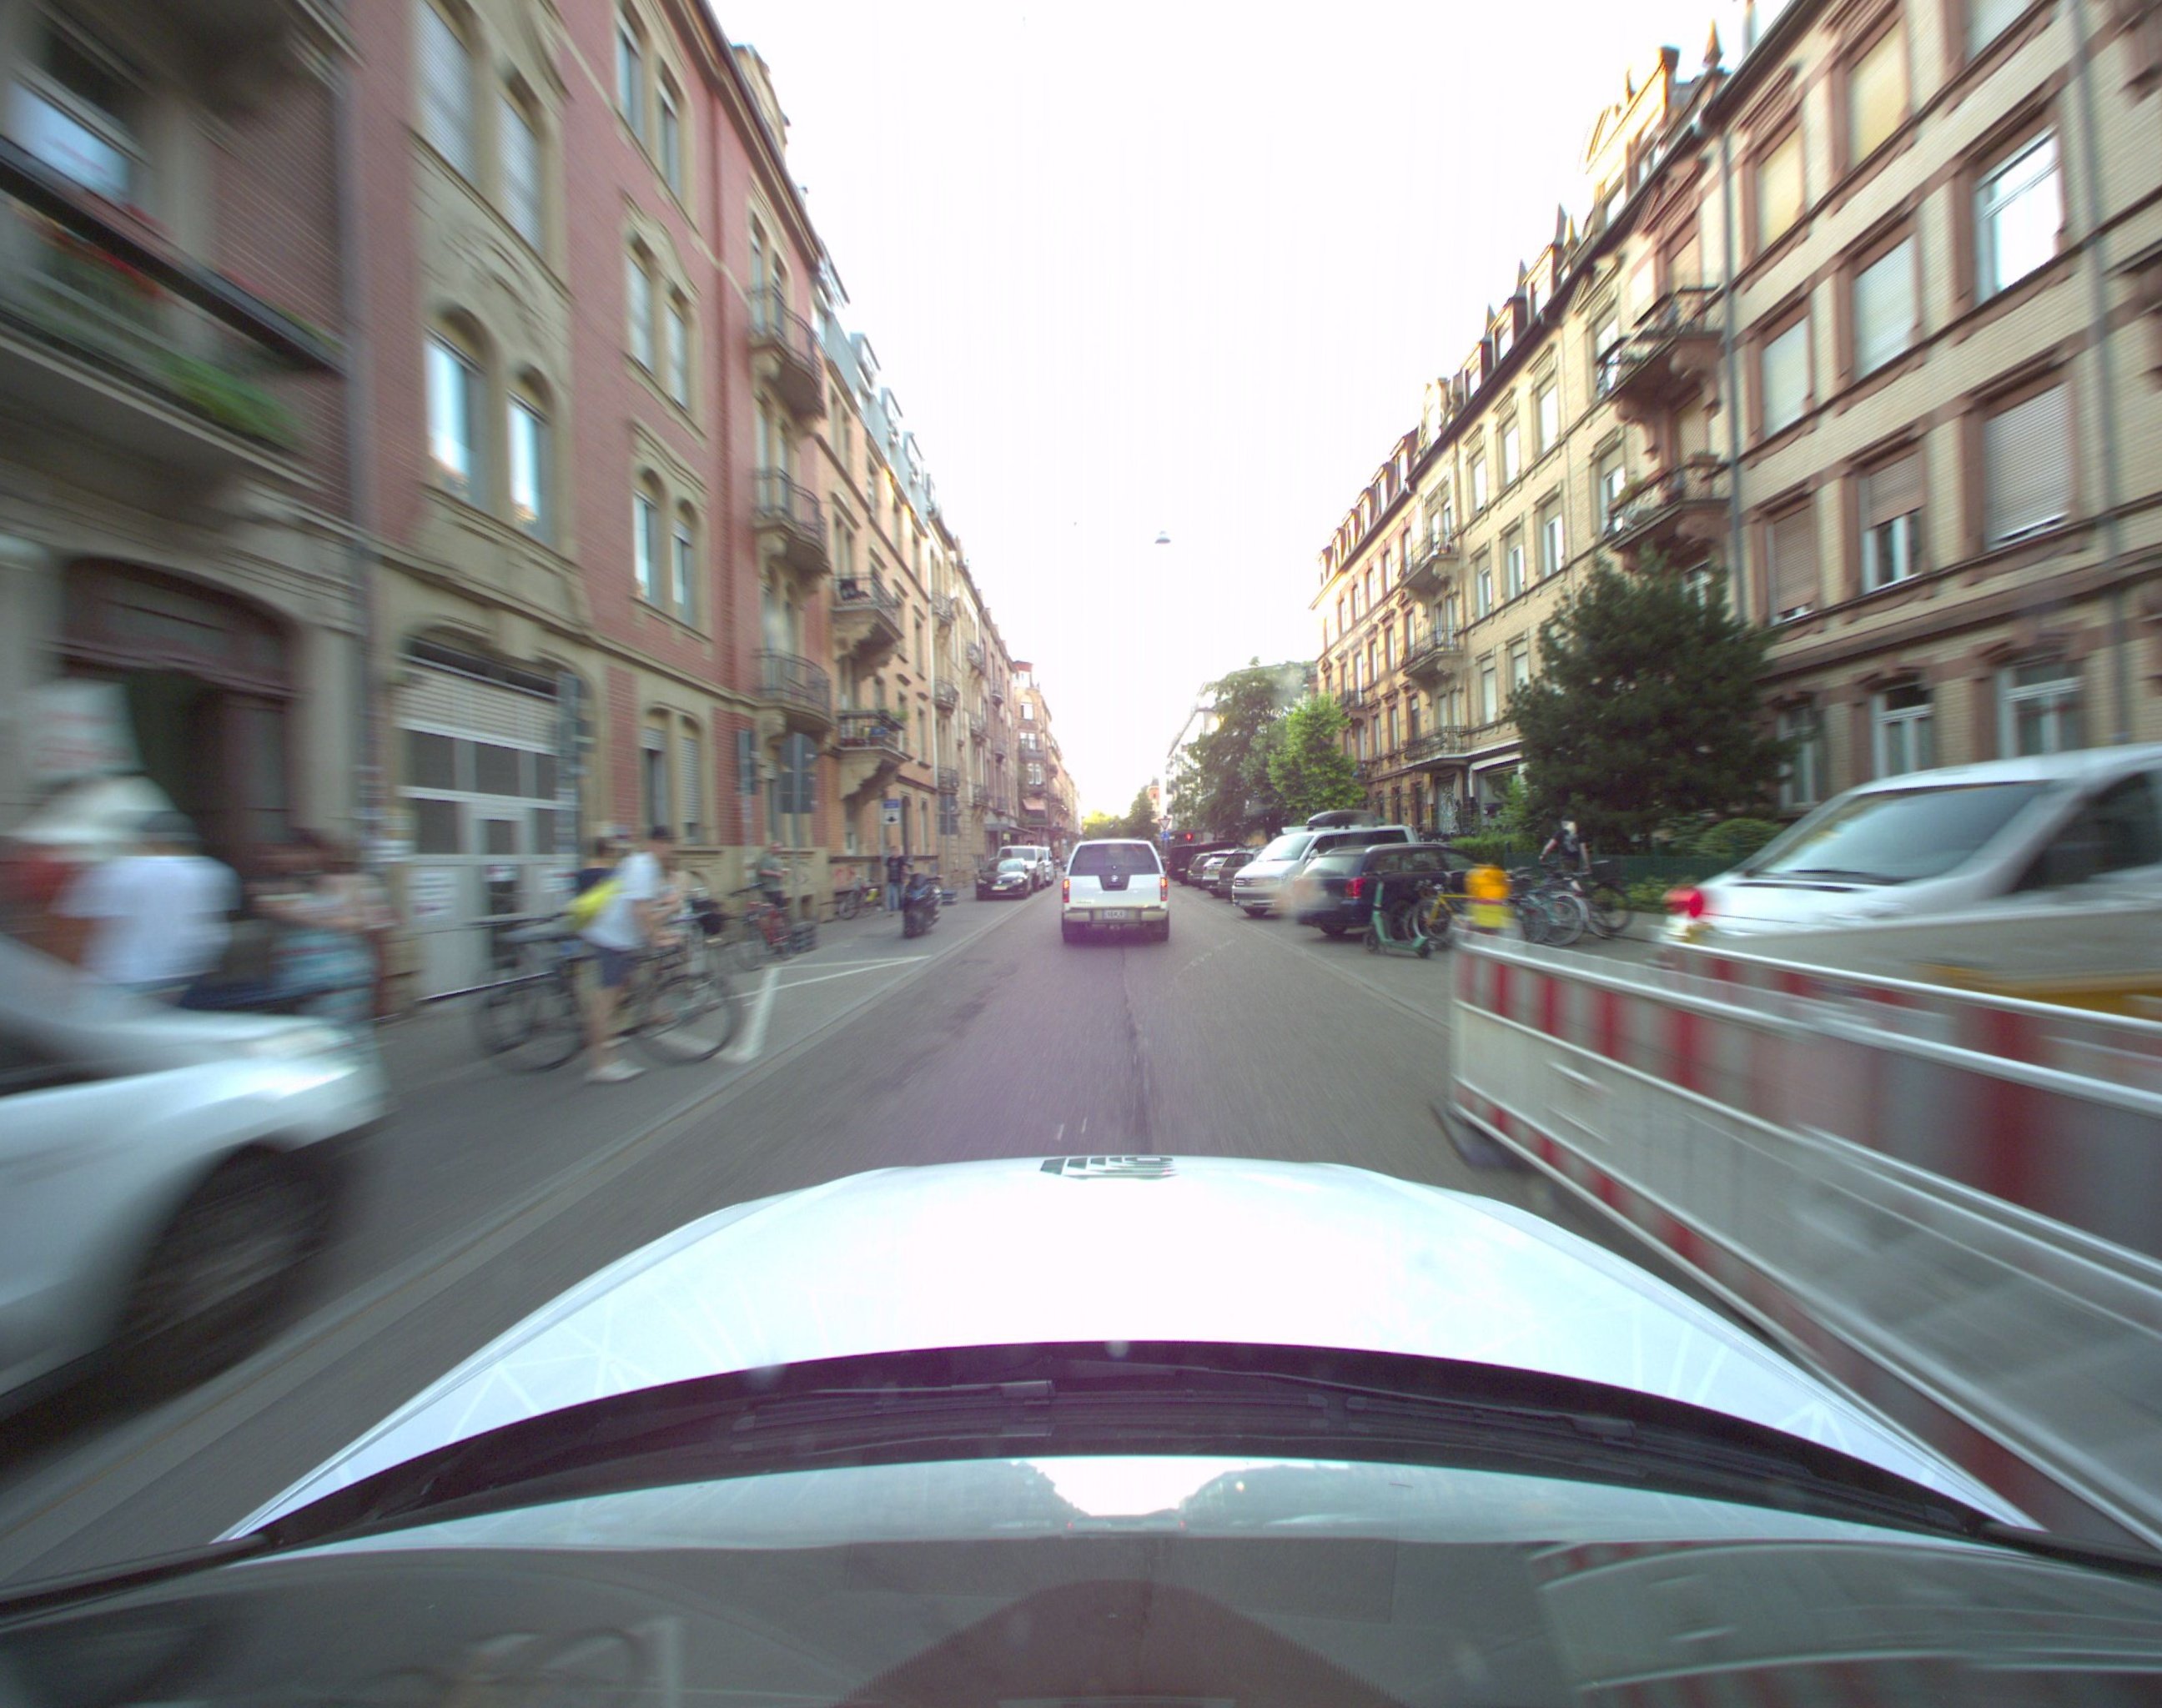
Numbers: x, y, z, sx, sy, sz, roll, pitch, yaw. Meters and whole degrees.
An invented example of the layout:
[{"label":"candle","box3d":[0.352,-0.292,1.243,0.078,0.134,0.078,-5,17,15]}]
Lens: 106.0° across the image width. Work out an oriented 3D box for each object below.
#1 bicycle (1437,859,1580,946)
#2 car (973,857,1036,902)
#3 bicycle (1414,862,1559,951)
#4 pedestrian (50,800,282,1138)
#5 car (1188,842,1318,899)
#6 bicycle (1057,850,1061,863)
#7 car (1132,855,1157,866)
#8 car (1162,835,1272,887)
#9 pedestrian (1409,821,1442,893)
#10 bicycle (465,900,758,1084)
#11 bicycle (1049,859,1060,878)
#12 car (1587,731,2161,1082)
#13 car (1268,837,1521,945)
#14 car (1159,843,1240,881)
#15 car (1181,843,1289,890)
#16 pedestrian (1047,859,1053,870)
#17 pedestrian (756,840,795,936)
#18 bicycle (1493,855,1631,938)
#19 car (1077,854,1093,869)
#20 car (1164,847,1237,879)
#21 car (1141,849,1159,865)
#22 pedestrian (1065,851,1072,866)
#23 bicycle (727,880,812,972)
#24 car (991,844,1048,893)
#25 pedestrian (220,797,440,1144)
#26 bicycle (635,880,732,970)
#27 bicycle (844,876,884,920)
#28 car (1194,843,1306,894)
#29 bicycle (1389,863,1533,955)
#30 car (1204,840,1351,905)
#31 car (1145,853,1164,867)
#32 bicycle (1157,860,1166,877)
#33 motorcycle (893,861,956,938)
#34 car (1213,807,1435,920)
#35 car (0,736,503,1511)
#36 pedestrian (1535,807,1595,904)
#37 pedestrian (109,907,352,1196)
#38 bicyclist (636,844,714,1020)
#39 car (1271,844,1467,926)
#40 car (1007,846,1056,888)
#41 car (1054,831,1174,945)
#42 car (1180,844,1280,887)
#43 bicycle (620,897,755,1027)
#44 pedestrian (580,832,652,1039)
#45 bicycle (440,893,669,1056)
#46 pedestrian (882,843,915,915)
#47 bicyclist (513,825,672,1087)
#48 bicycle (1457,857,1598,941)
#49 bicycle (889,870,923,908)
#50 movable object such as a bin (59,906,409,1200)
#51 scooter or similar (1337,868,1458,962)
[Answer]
[{"label":"bicycle","box3d":[6.185,0.674,11.899,0.498,1.136,1.796,-4,1,-32]},{"label":"car","box3d":[-2.703,0.859,29.497,1.831,1.471,4.172,-2,0,0]},{"label":"bicycle","box3d":[5.710,0.706,11.567,0.498,1.136,1.796,-4,1,-32]},{"label":"pedestrian","box3d":[-5.365,0.621,4.808,0.593,1.814,0.724,-1,-1,20]},{"label":"car","box3d":[5.933,0.542,28.014,4.121,1.590,1.801,-5,1,-29]},{"label":"bicycle","box3d":[-2.468,0.330,92.834,0.423,1.442,1.902,0,-1,-2]},{"label":"car","box3d":[10.303,1.070,132.676,3.973,1.750,1.841,-1,-1,0]},{"label":"car","box3d":[6.681,0.302,39.619,5.463,2.072,1.912,-5,1,-37]},{"label":"pedestrian","box3d":[9.706,0.084,22.952,0.622,2.014,0.655,0,-1,-3]},{"label":"bicycle","box3d":[-3.331,0.947,5.956,1.783,1.155,0.517,0,-1,-20]},{"label":"bicycle","box3d":[-1.671,0.920,51.617,0.469,1.142,1.787,-1,-1,5]},{"label":"car","box3d":[6.842,0.201,5.848,5.155,1.955,1.899,-4,1,0]},{"label":"car","box3d":[5.387,0.556,14.004,3.873,1.516,1.833,-3,0,-24]},{"label":"car","box3d":[6.569,0.436,44.893,4.244,1.688,1.912,-5,1,-37]},{"label":"car","box3d":[6.356,0.499,33.604,4.122,1.551,1.801,-5,1,-30]},{"label":"pedestrian","box3d":[-3.299,1.125,87.005,0.647,1.191,0.539,0,-1,-2]},{"label":"pedestrian","box3d":[-5.832,0.642,15.584,0.461,1.789,0.642,-1,-1,5]},{"label":"bicycle","box3d":[7.285,0.613,12.422,0.497,1.136,1.799,-4,1,-25]},{"label":"car","box3d":[0.518,0.873,99.046,1.828,1.750,4.001,-1,-1,1]},{"label":"car","box3d":[7.103,0.519,48.220,4.062,1.628,1.677,-4,1,-30]},{"label":"car","box3d":[8.525,0.387,101.368,1.936,1.934,4.001,-1,-1,1]},{"label":"pedestrian","box3d":[-1.404,0.534,91.308,0.795,1.621,0.944,-1,-1,-1]},{"label":"bicycle","box3d":[-4.343,0.961,11.489,0.410,1.160,1.839,-1,-1,3]},{"label":"car","box3d":[-2.584,0.599,35.309,1.829,1.921,4.849,-2,0,3]},{"label":"pedestrian","box3d":[-4.240,0.608,4.660,0.597,1.814,0.719,0,-1,-7]},{"label":"bicycle","box3d":[-5.709,0.978,11.810,0.410,1.160,1.839,-1,-1,3]},{"label":"bicycle","box3d":[-5.406,1.071,20.375,0.446,1.030,1.742,-1,-1,3]},{"label":"car","box3d":[6.515,0.526,31.214,4.128,1.590,1.798,-5,1,-36]},{"label":"bicycle","box3d":[5.179,0.717,11.220,0.498,1.136,1.797,-4,1,-29]},{"label":"car","box3d":[6.065,0.539,25.090,4.179,1.590,1.868,-5,1,-29]},{"label":"car","box3d":[8.357,0.739,92.581,1.828,1.542,4.001,-1,-1,1]},{"label":"bicycle","box3d":[5.106,0.902,51.656,0.363,1.063,1.551,0,-1,-2]},{"label":"motorcycle","box3d":[-3.019,0.847,15.895,0.681,1.405,2.017,-1,-1,4]},{"label":"car","box3d":[5.849,0.159,19.554,4.946,2.362,1.984,-3,0,-25]},{"label":"car","box3d":[-3.390,0.626,1.213,1.764,1.789,4.586,-1,-1,0]},{"label":"pedestrian","box3d":[9.112,0.030,15.360,0.679,1.750,0.830,-5,-1,17]},{"label":"pedestrian","box3d":[-4.098,0.904,3.971,0.476,1.251,0.653,-1,-1,2]},{"label":"bicyclist","box3d":[-3.794,0.713,7.626,0.463,1.590,0.488,-1,-1,5]},{"label":"car","box3d":[6.043,0.597,16.990,3.881,1.408,1.741,-3,-1,-31]},{"label":"car","box3d":[-2.446,0.627,41.446,2.102,1.921,5.026,-2,0,0]},{"label":"car","box3d":[0.747,0.579,15.622,1.929,1.810,5.007,-1,-1,5]},{"label":"car","box3d":[6.654,0.483,36.279,4.122,1.551,1.801,-5,1,-30]},{"label":"bicycle","box3d":[-3.760,0.990,7.911,0.463,1.068,1.522,-1,-1,5]},{"label":"pedestrian","box3d":[-3.947,0.674,6.933,0.417,1.709,0.350,0,-1,-4]},{"label":"bicycle","box3d":[-4.493,0.956,7.153,0.463,1.155,2.005,-1,-1,9]},{"label":"pedestrian","box3d":[-4.728,0.641,21.193,0.680,1.810,0.960,0,-1,-4]},{"label":"bicyclist","box3d":[-3.340,0.667,5.621,0.786,1.704,0.528,0,-1,-6]},{"label":"bicycle","box3d":[6.640,0.641,12.205,0.498,1.136,1.796,-4,1,-32]},{"label":"bicycle","box3d":[-5.381,1.067,25.146,0.748,1.101,2.022,0,-1,-5]},{"label":"movable object such as a bin","box3d":[-4.064,0.904,3.987,0.884,1.251,0.776,-1,-1,2]},{"label":"scooter or similar","box3d":[4.284,0.788,11.144,0.657,1.150,1.473,-4,0,-22]}]
